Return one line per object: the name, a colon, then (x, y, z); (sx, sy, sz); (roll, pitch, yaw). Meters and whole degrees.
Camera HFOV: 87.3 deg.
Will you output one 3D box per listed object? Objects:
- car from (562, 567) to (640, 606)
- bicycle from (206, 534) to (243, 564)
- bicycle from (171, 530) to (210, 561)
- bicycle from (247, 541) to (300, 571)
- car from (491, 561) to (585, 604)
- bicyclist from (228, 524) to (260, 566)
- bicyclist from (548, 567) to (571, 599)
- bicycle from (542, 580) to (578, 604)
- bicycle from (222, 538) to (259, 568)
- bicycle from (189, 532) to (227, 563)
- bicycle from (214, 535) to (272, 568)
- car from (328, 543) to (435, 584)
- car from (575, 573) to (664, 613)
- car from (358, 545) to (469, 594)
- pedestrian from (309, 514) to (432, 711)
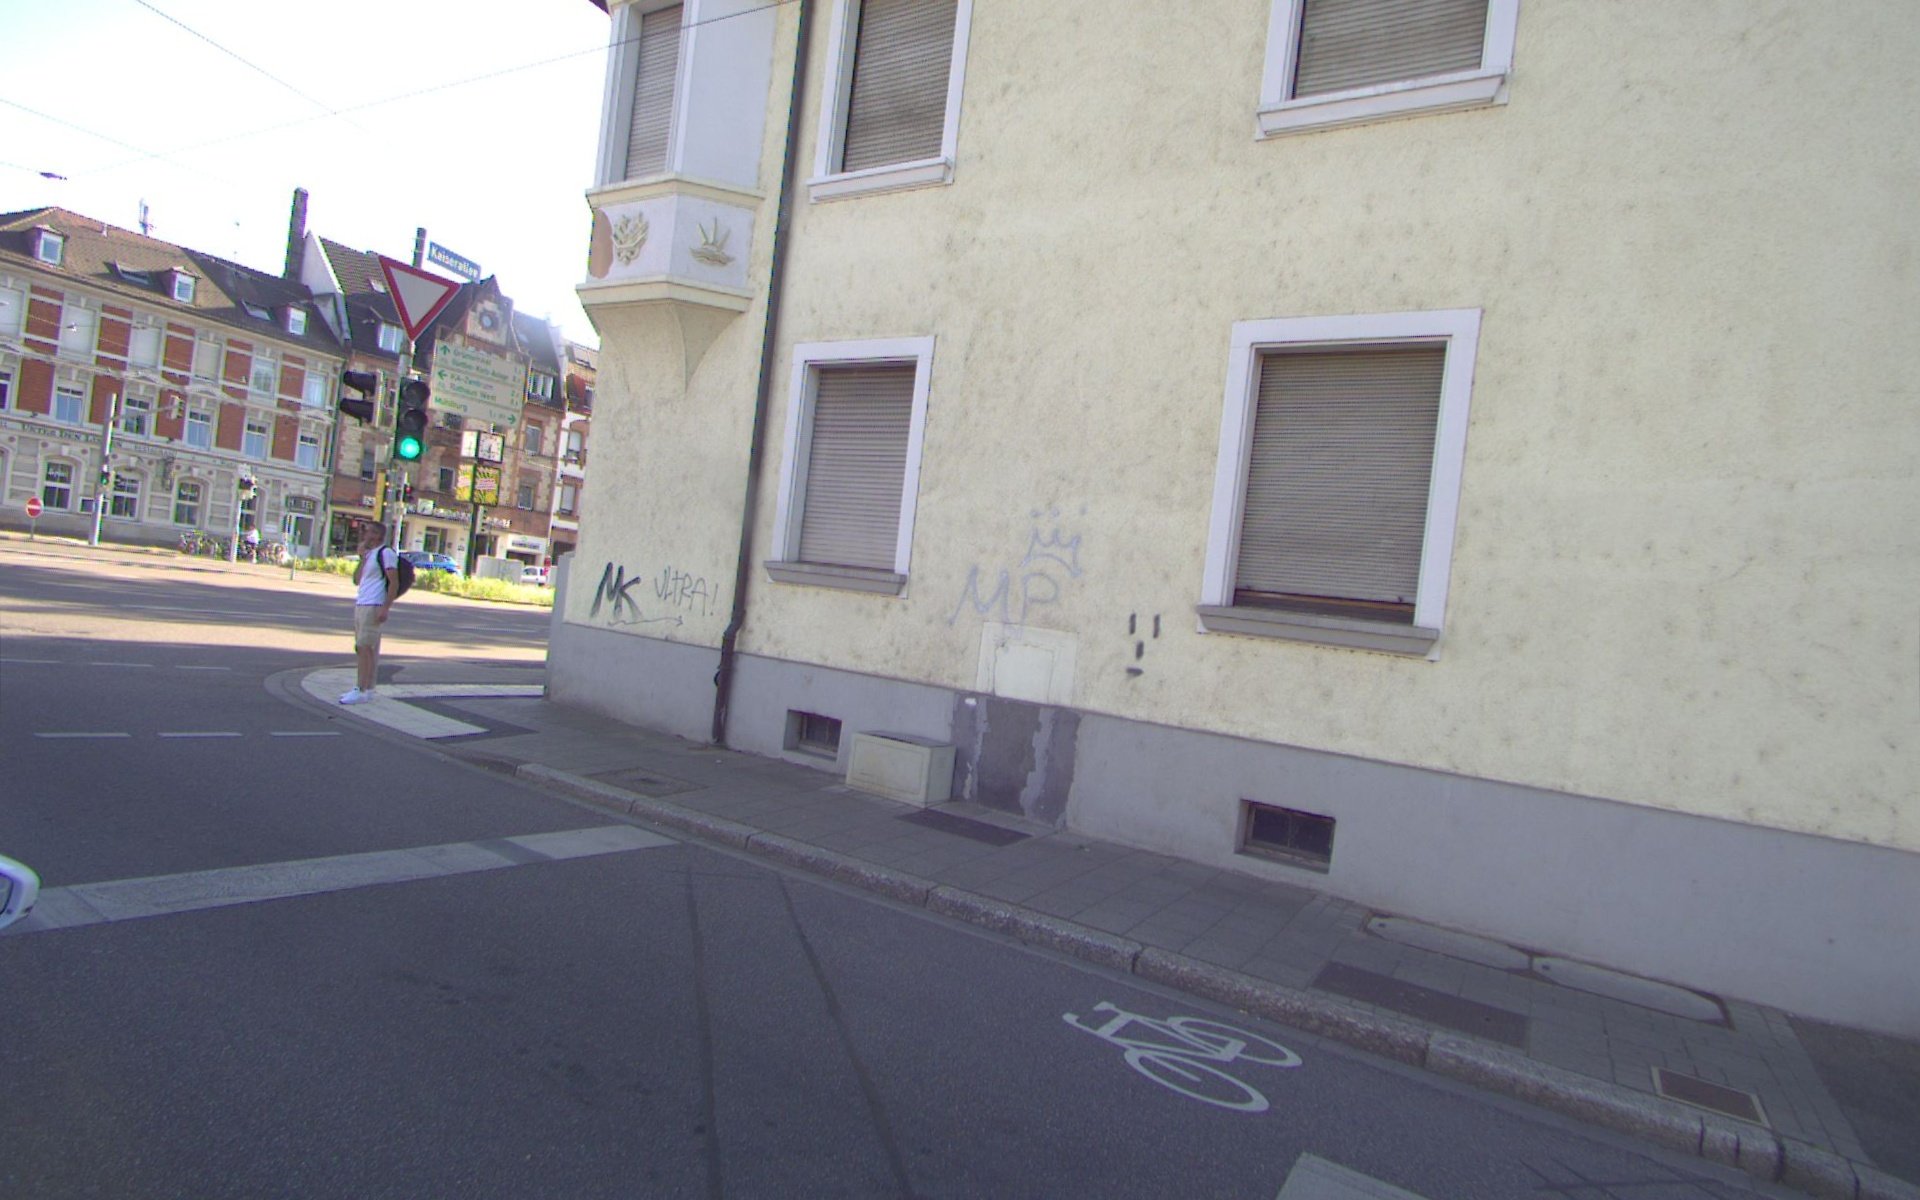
car: (-23.225, -0.834, 65.191); (1.922, 1.988, 4.411); (7, -1, 31)
bicycle: (-34.188, -2.385, 46.748); (1.935, 1.205, 0.678); (7, 0, 33)
bicycle: (-34.871, -2.477, 45.579); (1.935, 1.205, 0.678); (7, 0, 33)
bicycle: (-32.869, -2.087, 48.173); (0.667, 1.205, 1.968); (7, -1, 20)
car: (-21.907, -0.896, 52.340); (1.922, 1.688, 3.993); (7, -1, 31)
bicyclist: (-32.358, -2.481, 45.448); (0.592, 1.785, 0.873); (7, 0, 34)
bicyclist: (-23.909, -1.003, 60.083); (0.591, 1.785, 0.905); (7, 0, 29)
bicycle: (-23.925, -0.469, 60.172); (0.591, 1.205, 1.965); (7, -1, 29)
bicycle: (-33.846, -2.205, 47.322); (1.935, 1.205, 0.678); (7, 0, 33)
bicycle: (-34.528, -2.423, 46.193); (1.935, 1.205, 0.678); (7, 0, 33)
bicycle: (-32.383, -2.187, 45.464); (0.592, 1.205, 1.962); (7, -1, 34)
car: (-27.816, -1.736, 48.474); (1.815, 1.429, 3.993); (7, -1, 31)
car: (-19.193, -0.353, 56.936); (1.922, 1.687, 4.480); (7, -1, 31)
car: (-25.391, -1.376, 46.837); (1.922, 1.688, 3.993); (7, -1, 31)
pedestrian: (-5.609, 0.111, 9.596); (0.661, 1.764, 0.689); (5, 2, 2)
